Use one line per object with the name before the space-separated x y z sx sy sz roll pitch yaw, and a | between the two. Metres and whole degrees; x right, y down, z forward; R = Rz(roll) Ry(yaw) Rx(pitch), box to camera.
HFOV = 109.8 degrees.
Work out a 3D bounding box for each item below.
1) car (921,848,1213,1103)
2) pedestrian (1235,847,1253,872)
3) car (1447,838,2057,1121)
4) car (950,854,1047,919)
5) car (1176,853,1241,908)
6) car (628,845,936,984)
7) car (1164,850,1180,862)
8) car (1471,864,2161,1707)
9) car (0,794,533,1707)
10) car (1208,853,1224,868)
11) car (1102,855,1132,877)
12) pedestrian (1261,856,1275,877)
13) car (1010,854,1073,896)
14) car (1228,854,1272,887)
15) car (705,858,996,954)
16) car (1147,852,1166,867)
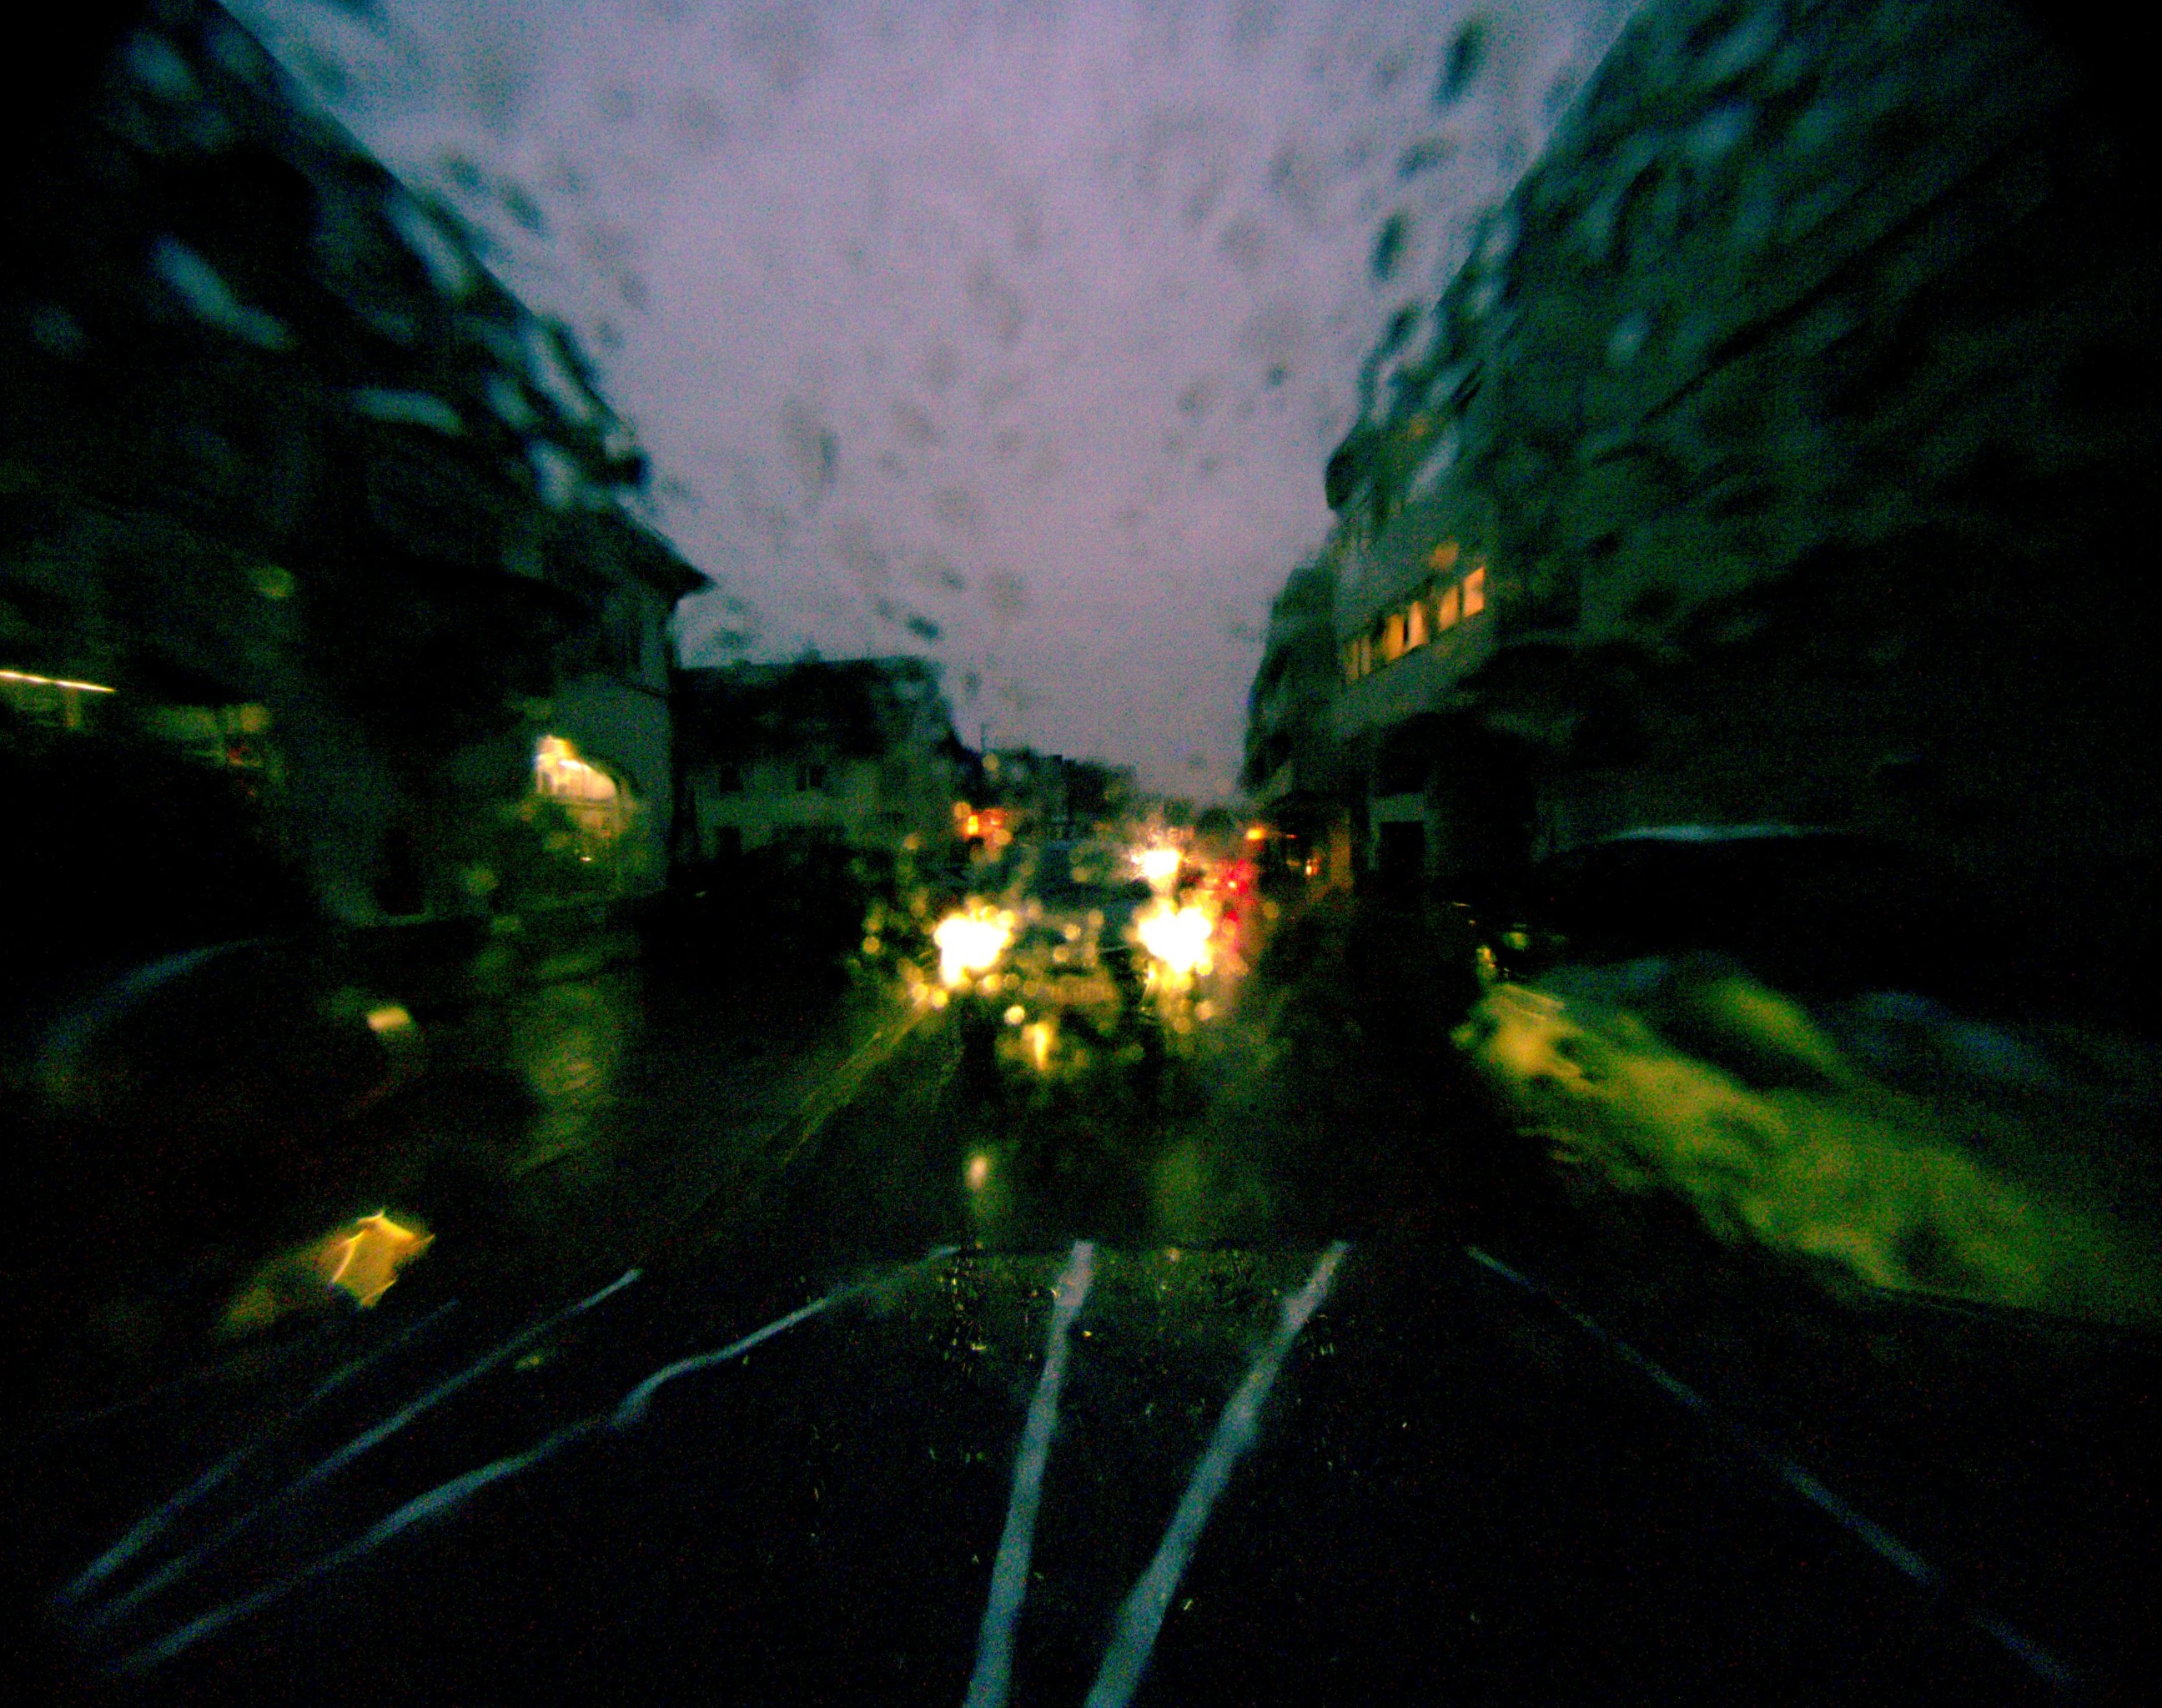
car | -0.099 0.793 7.063 1.879 1.622 3.999 -2 1 0
pedestrian | 12.465 0.422 58.078 1.200 1.927 0.978 0 0 16
car | 4.899 0.742 6.415 1.799 1.633 3.812 -2 0 1
car | -2.107 0.801 20.803 1.886 1.538 4.672 1 0 3
car | 3.871 0.769 23.541 1.641 1.526 3.407 -1 0 4
car | -3.875 0.767 10.359 3.514 1.671 1.715 1 0 -4
car | 12.175 0.305 101.158 1.797 1.501 4.003 1 1 10
car | 2.800 0.848 1.226 1.816 1.587 4.397 -1 0 -5
car | -3.782 0.794 1.005 4.617 1.765 1.944 0 0 -4
car | 15.378 0.720 86.752 1.724 1.604 3.818 -2 0 10
car | 2.716 0.875 56.102 1.797 1.501 4.002 1 1 8
pedestrian | 12.043 0.822 48.989 0.757 1.303 0.829 -1 1 7
car | -1.464 0.761 30.095 1.798 1.452 4.532 1 1 6
car | 8.046 0.737 36.560 1.678 1.438 4.430 0 0 7
car | -3.832 0.842 13.231 4.478 1.465 1.898 1 0 0
car | 8.160 0.594 82.245 1.797 1.501 4.002 1 1 8
